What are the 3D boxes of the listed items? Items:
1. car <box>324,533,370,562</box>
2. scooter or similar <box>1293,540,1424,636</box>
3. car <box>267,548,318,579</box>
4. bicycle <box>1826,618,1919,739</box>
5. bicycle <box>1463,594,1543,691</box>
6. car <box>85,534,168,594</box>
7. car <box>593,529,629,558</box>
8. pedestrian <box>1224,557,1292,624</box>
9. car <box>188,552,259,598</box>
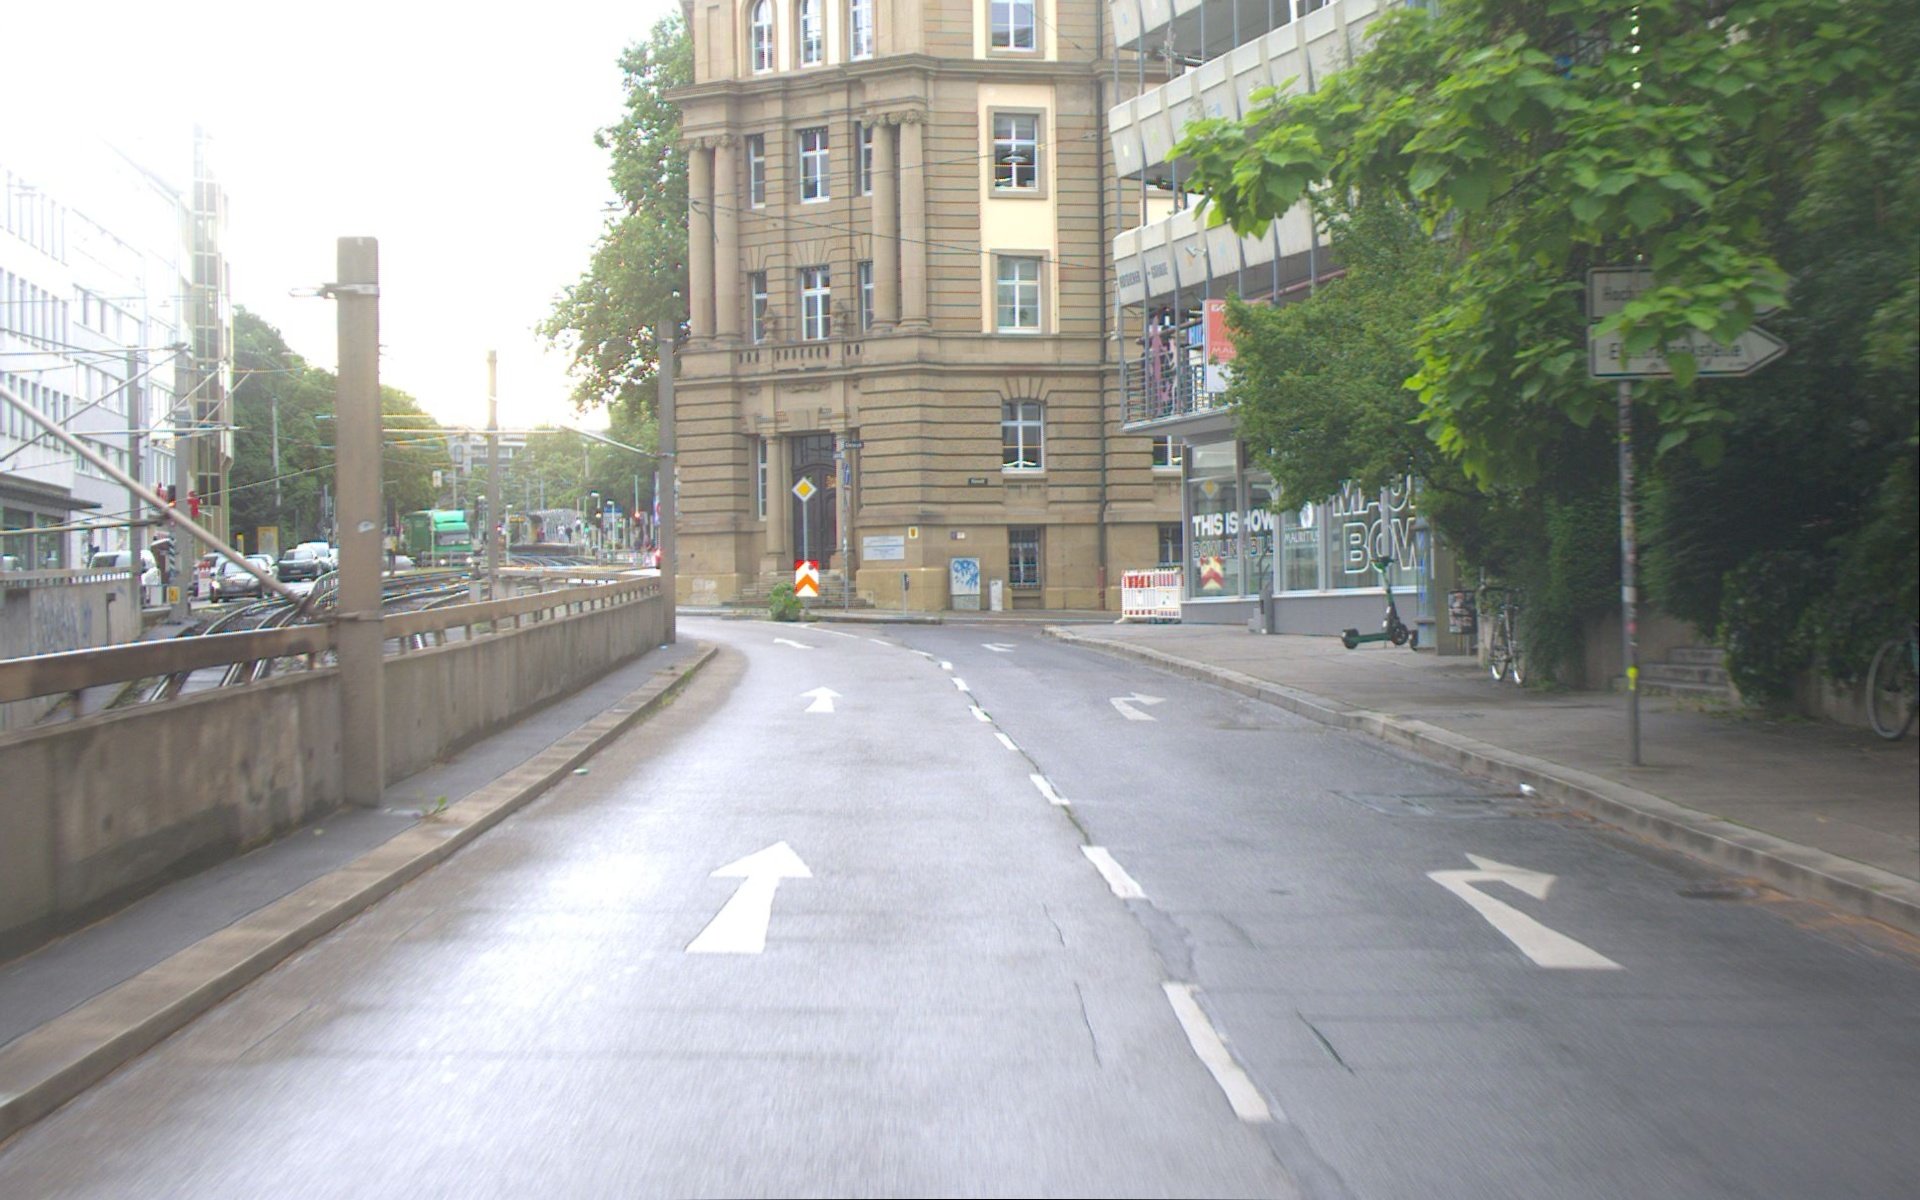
[{"bbox_3d":[-31.142,-2.684,174.701,1.993,1.451,4.312,0,1,-6],"label":"car"},{"bbox_3d":[5.549,-0.170,47.863,1.635,1.263,0.743,-3,2,-26],"label":"scooter or similar"},{"bbox_3d":[-31.469,-1.729,162.177,1.993,1.451,4.312,0,1,-6],"label":"car"},{"bbox_3d":[6.303,0.523,23.326,0.500,0.751,1.211,-2,1,-1],"label":"bicycle"},{"bbox_3d":[5.198,0.394,32.957,0.470,0.882,1.690,-1,1,-1],"label":"bicycle"},{"bbox_3d":[-26.772,-1.182,110.575,1.993,1.876,4.928,0,1,-6],"label":"car"},{"bbox_3d":[-19.736,-3.186,194.304,1.993,1.656,4.001,0,1,-6],"label":"car"},{"bbox_3d":[5.050,-0.171,58.330,0.752,1.119,1.247,0,1,-15],"label":"pedestrian"},{"bbox_3d":[-24.842,-0.861,116.029,1.993,1.522,3.663,0,1,-6],"label":"car"}]
